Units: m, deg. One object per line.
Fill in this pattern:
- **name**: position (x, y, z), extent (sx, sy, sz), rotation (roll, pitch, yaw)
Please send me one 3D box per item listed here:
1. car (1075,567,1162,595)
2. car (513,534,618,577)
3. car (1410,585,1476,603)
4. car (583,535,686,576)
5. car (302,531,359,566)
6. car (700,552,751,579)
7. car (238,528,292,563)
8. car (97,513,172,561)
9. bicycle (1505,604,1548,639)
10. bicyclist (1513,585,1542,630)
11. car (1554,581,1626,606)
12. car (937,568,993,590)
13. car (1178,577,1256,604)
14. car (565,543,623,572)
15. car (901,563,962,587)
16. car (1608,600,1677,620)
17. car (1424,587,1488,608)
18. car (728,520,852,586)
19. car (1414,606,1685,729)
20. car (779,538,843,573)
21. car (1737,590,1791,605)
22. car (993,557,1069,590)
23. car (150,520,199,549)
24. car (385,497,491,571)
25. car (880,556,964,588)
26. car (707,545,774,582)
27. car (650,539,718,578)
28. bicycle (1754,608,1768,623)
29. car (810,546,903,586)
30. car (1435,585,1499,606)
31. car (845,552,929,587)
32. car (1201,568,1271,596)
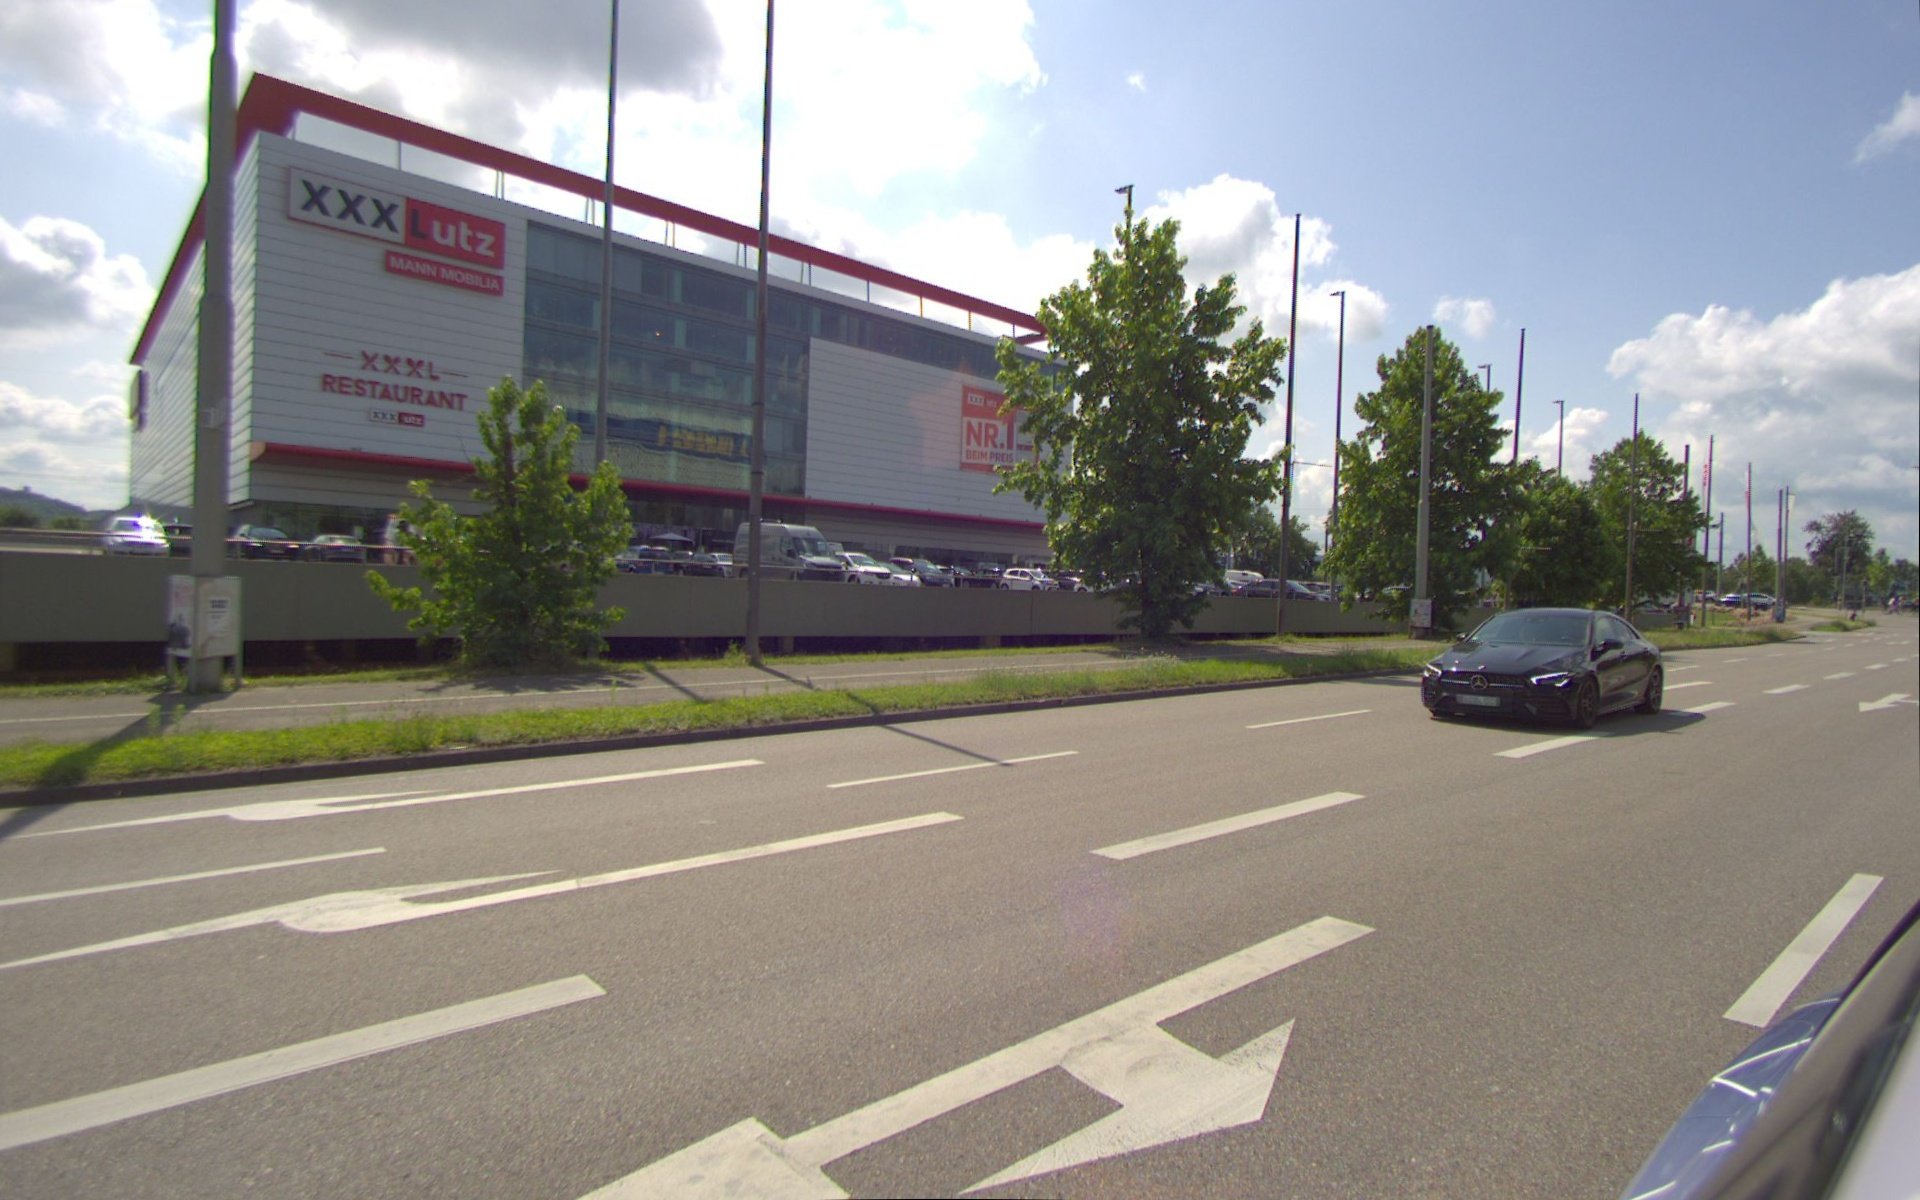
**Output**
- **car**: position (8.142, -0.967, 52.247), extent (4.185, 1.407, 1.862), rotation (1, 0, 45)
- **car**: position (-14.867, -1.617, 37.970), extent (1.954, 1.472, 4.871), rotation (0, 1, -44)
- **car**: position (38.275, -0.504, 80.313), extent (1.814, 1.379, 4.366), rotation (0, 0, -41)
- **car**: position (-12.958, -1.723, 40.077), extent (1.954, 1.502, 4.871), rotation (0, 1, -44)
- **car**: position (-28.219, -2.273, 45.311), extent (1.557, 1.428, 3.531), rotation (2, 0, -42)
- **car**: position (-13.626, -1.985, 58.679), extent (1.523, 1.455, 3.389), rotation (2, 0, -40)
- **car**: position (-30.931, -2.434, 45.008), extent (1.557, 1.428, 3.532), rotation (2, 2, -42)
- **car**: position (-30.513, -2.284, 37.368), extent (3.896, 1.595, 1.609), rotation (1, 0, 43)
- **bicycle**: position (18.343, 0.694, 32.761), extent (1.934, 1.081, 0.624), rotation (1, 1, -43)
- **bicyclist**: position (18.382, 0.248, 32.786), extent (0.702, 1.430, 0.616), rotation (2, 0, -42)
- **car**: position (44.317, -0.472, 71.223), extent (1.667, 1.608, 4.019), rotation (2, 0, -44)
- **car**: position (0.322, -1.489, 71.145), extent (1.601, 1.438, 3.992), rotation (2, 0, -43)
- **car**: position (14.960, -0.556, 59.107), extent (1.659, 1.341, 4.190), rotation (1, 2, -42)
- **car**: position (-19.881, -2.287, 54.921), extent (1.607, 1.461, 3.902), rotation (2, 0, -42)
- **car**: position (-1.833, -1.546, 63.447), extent (1.601, 1.438, 3.992), rotation (2, 0, -43)
- **car**: position (55.922, 0.790, 82.930), extent (1.824, 1.495, 4.366), rotation (0, 0, -41)
- **car**: position (40.127, -0.224, 81.911), extent (1.598, 1.460, 4.368), rotation (2, 1, -41)
- **car**: position (-6.813, -1.794, 40.159), extent (2.028, 2.396, 5.663), rotation (0, 1, -44)
- **car**: position (7.745, 0.760, 13.159), extent (4.089, 1.335, 1.796), rotation (0, 0, -40)
- **car**: position (-9.179, -2.696, 62.237), extent (1.966, 1.976, 3.992), rotation (2, 0, -42)
- **car**: position (87.047, -0.290, 109.541), extent (4.479, 1.430, 1.984), rotation (3, 2, 41)
- **car**: position (3.985, -1.504, 57.204), extent (1.965, 1.742, 3.993), rotation (2, 0, -42)
- **car**: position (-38.700, -3.185, 49.826), extent (1.665, 1.199, 3.903), rotation (2, 0, -41)
- **car**: position (-18.022, -2.175, 34.823), extent (1.953, 2.223, 5.166), rotation (0, 0, -43)
- **car**: position (-1.907, -1.344, 49.855), extent (1.861, 1.452, 4.188), rotation (2, 0, -43)
- **car**: position (-11.576, -1.888, 53.319), extent (1.744, 1.861, 3.890), rotation (2, 0, -42)
- **car**: position (-14.060, -2.067, 51.515), extent (1.744, 1.861, 3.890), rotation (2, 0, -42)
- **bicycle**: position (53.268, 1.052, 67.316), extent (1.518, 0.964, 0.517), rotation (0, 1, -43)
- **car**: position (-4.261, -1.363, 41.387), extent (1.719, 1.533, 3.990), rotation (0, 1, -44)
- **car**: position (41.762, -0.386, 83.398), extent (1.652, 1.527, 4.368), rotation (1, 2, -40)
- **car**: position (-3.475, -1.437, 47.550), extent (1.697, 1.452, 4.190), rotation (2, 2, -43)
- **car**: position (33.573, -2.191, 123.230), extent (3.066, 3.193, 7.898), rotation (0, 2, -39)
